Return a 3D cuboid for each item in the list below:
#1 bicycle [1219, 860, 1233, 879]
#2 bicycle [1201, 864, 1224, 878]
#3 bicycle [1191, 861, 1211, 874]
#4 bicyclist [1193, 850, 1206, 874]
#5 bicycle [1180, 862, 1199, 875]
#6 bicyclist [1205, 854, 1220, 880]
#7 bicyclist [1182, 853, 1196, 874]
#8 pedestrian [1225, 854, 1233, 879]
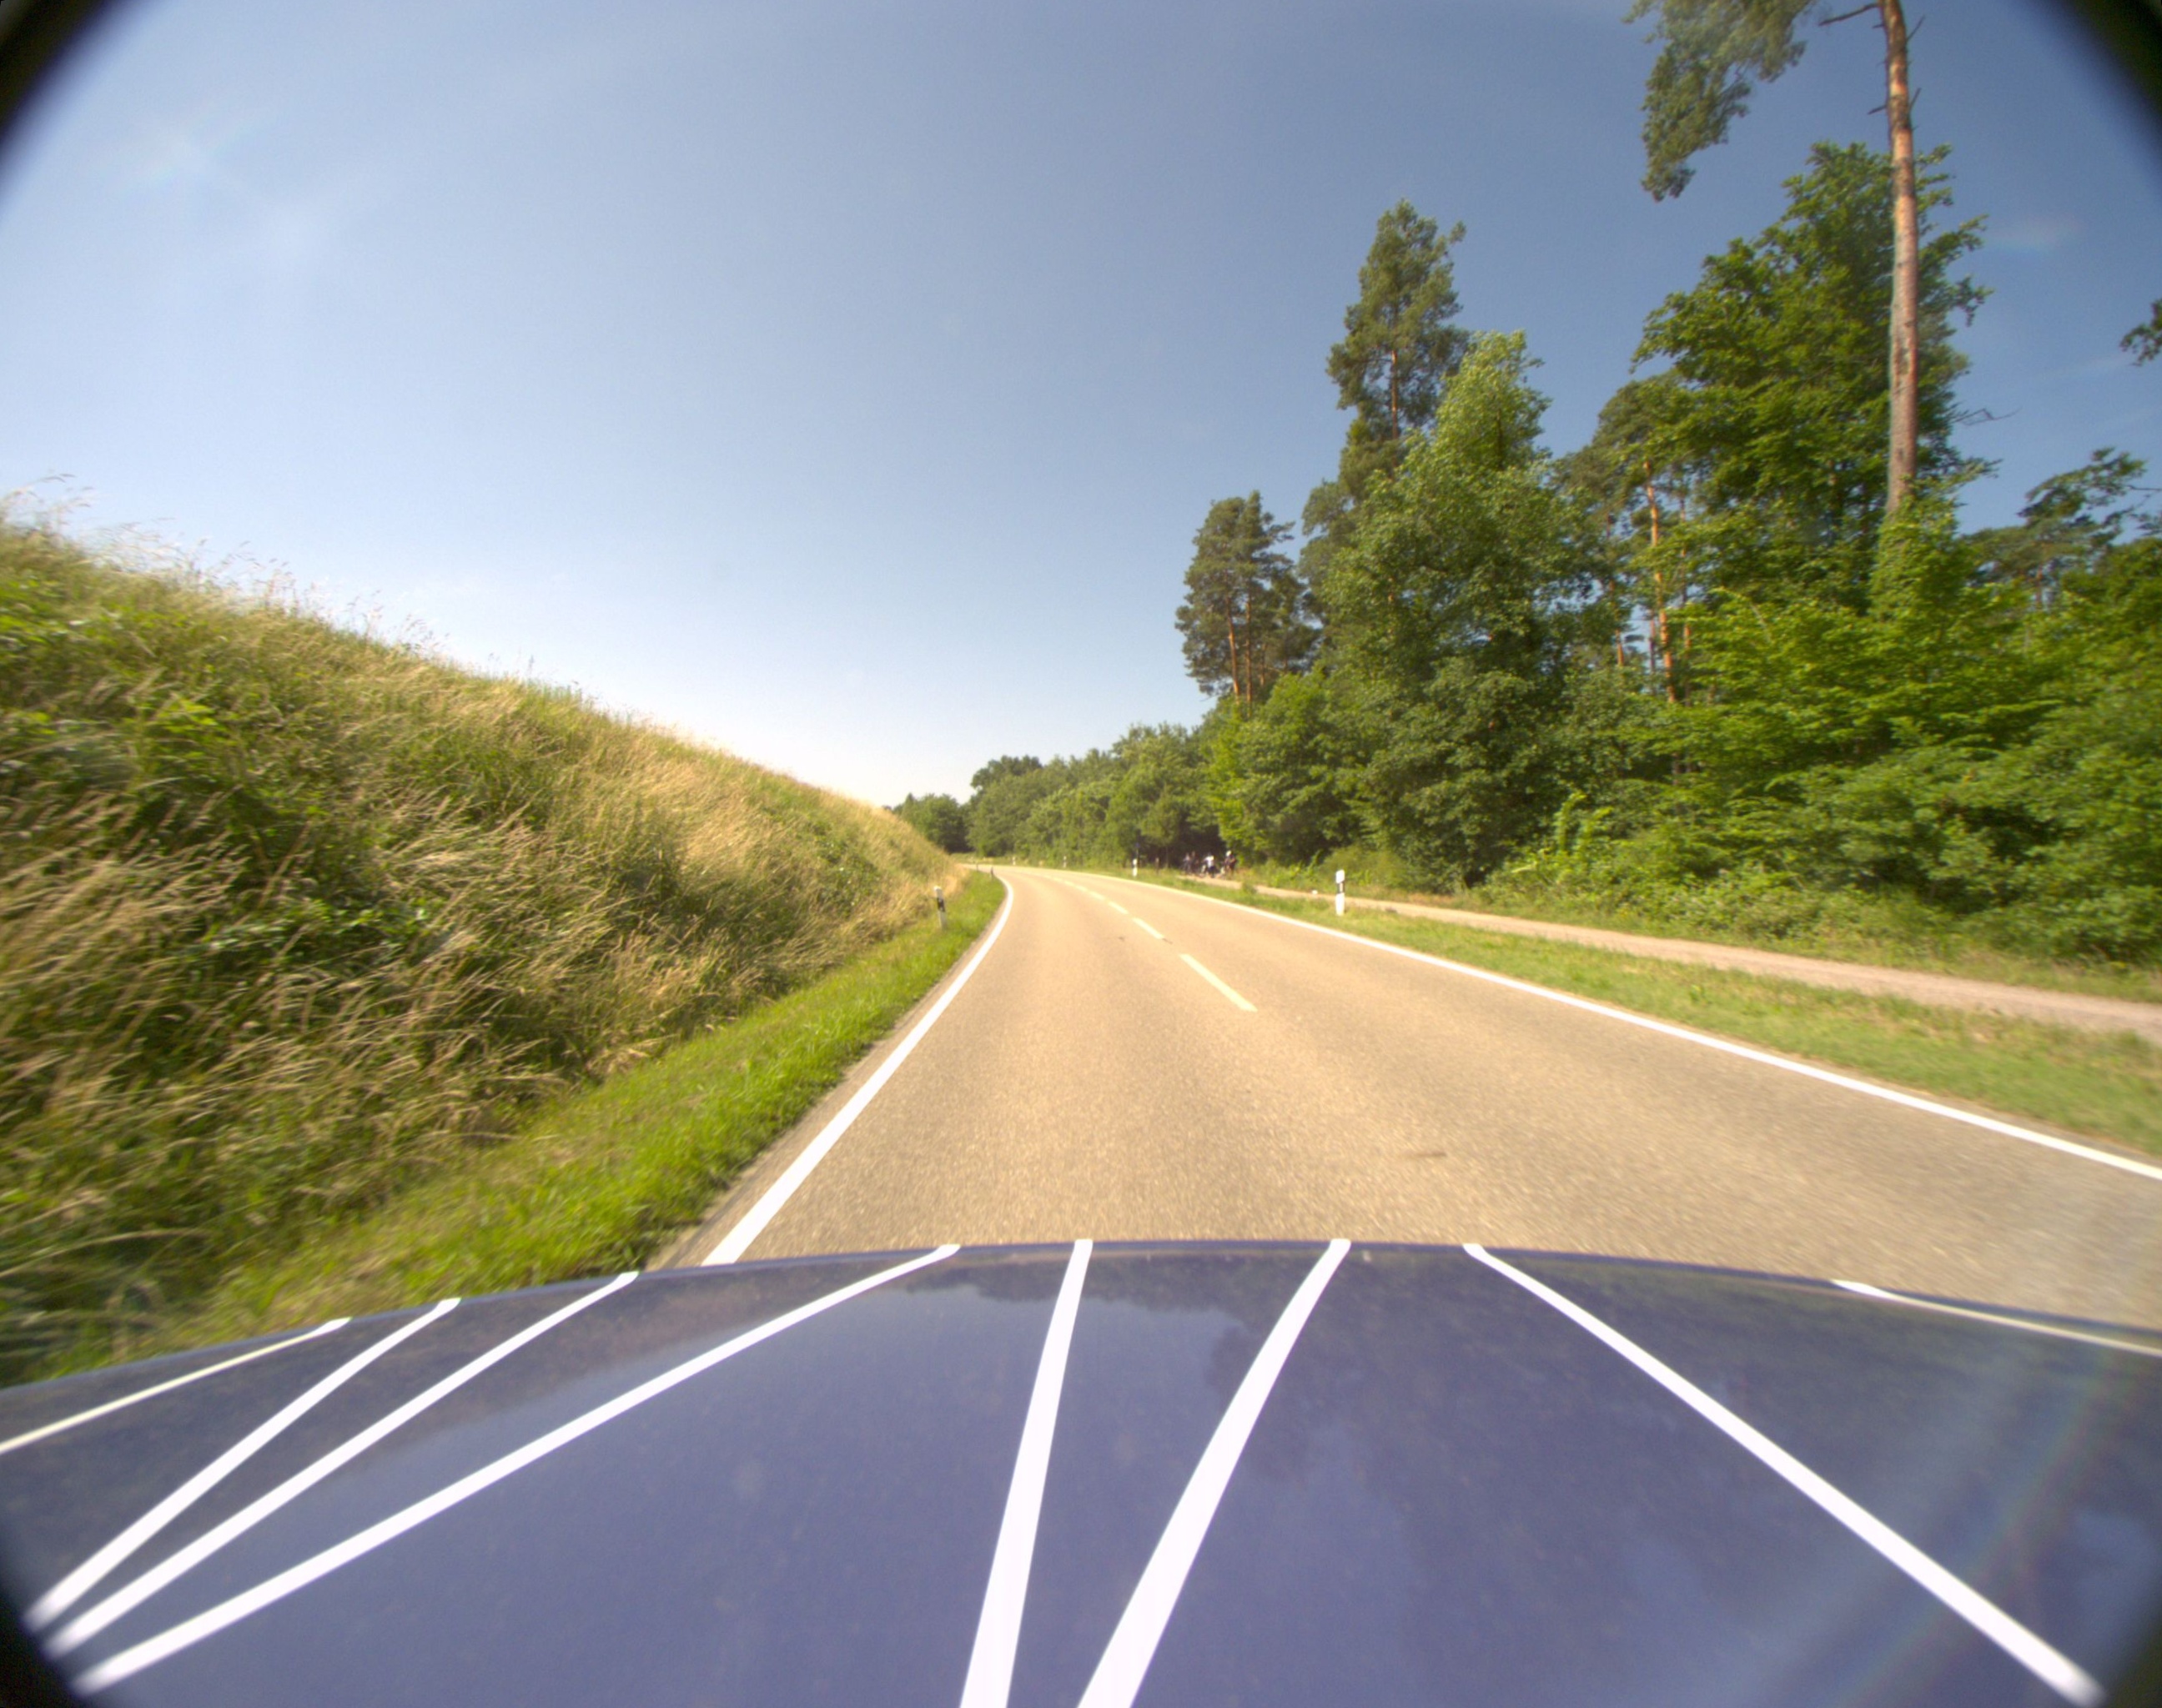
[{"bbox_3d":[8.936,0.949,46.703,0.581,1.080,1.449,-3,-1,19],"label":"bicycle"},{"bbox_3d":[8.900,1.148,51.403,0.604,0.825,1.989,0,2,41],"label":"bicycle"},{"bbox_3d":[8.805,0.988,55.805,0.604,0.825,1.988,-1,2,34],"label":"bicycle"},{"bbox_3d":[8.707,0.573,55.677,0.604,1.691,0.852,-1,2,34],"label":"bicyclist"},{"bbox_3d":[8.022,1.040,56.082,0.604,0.825,1.988,-1,2,34],"label":"bicycle"},{"bbox_3d":[8.901,0.862,51.416,0.604,1.709,0.791,0,3,41],"label":"bicyclist"},{"bbox_3d":[7.981,0.696,56.077,0.604,1.537,0.873,-1,2,34],"label":"bicyclist"},{"bbox_3d":[9.082,0.786,46.606,0.285,1.529,0.390,-1,1,-14],"label":"pedestrian"}]
